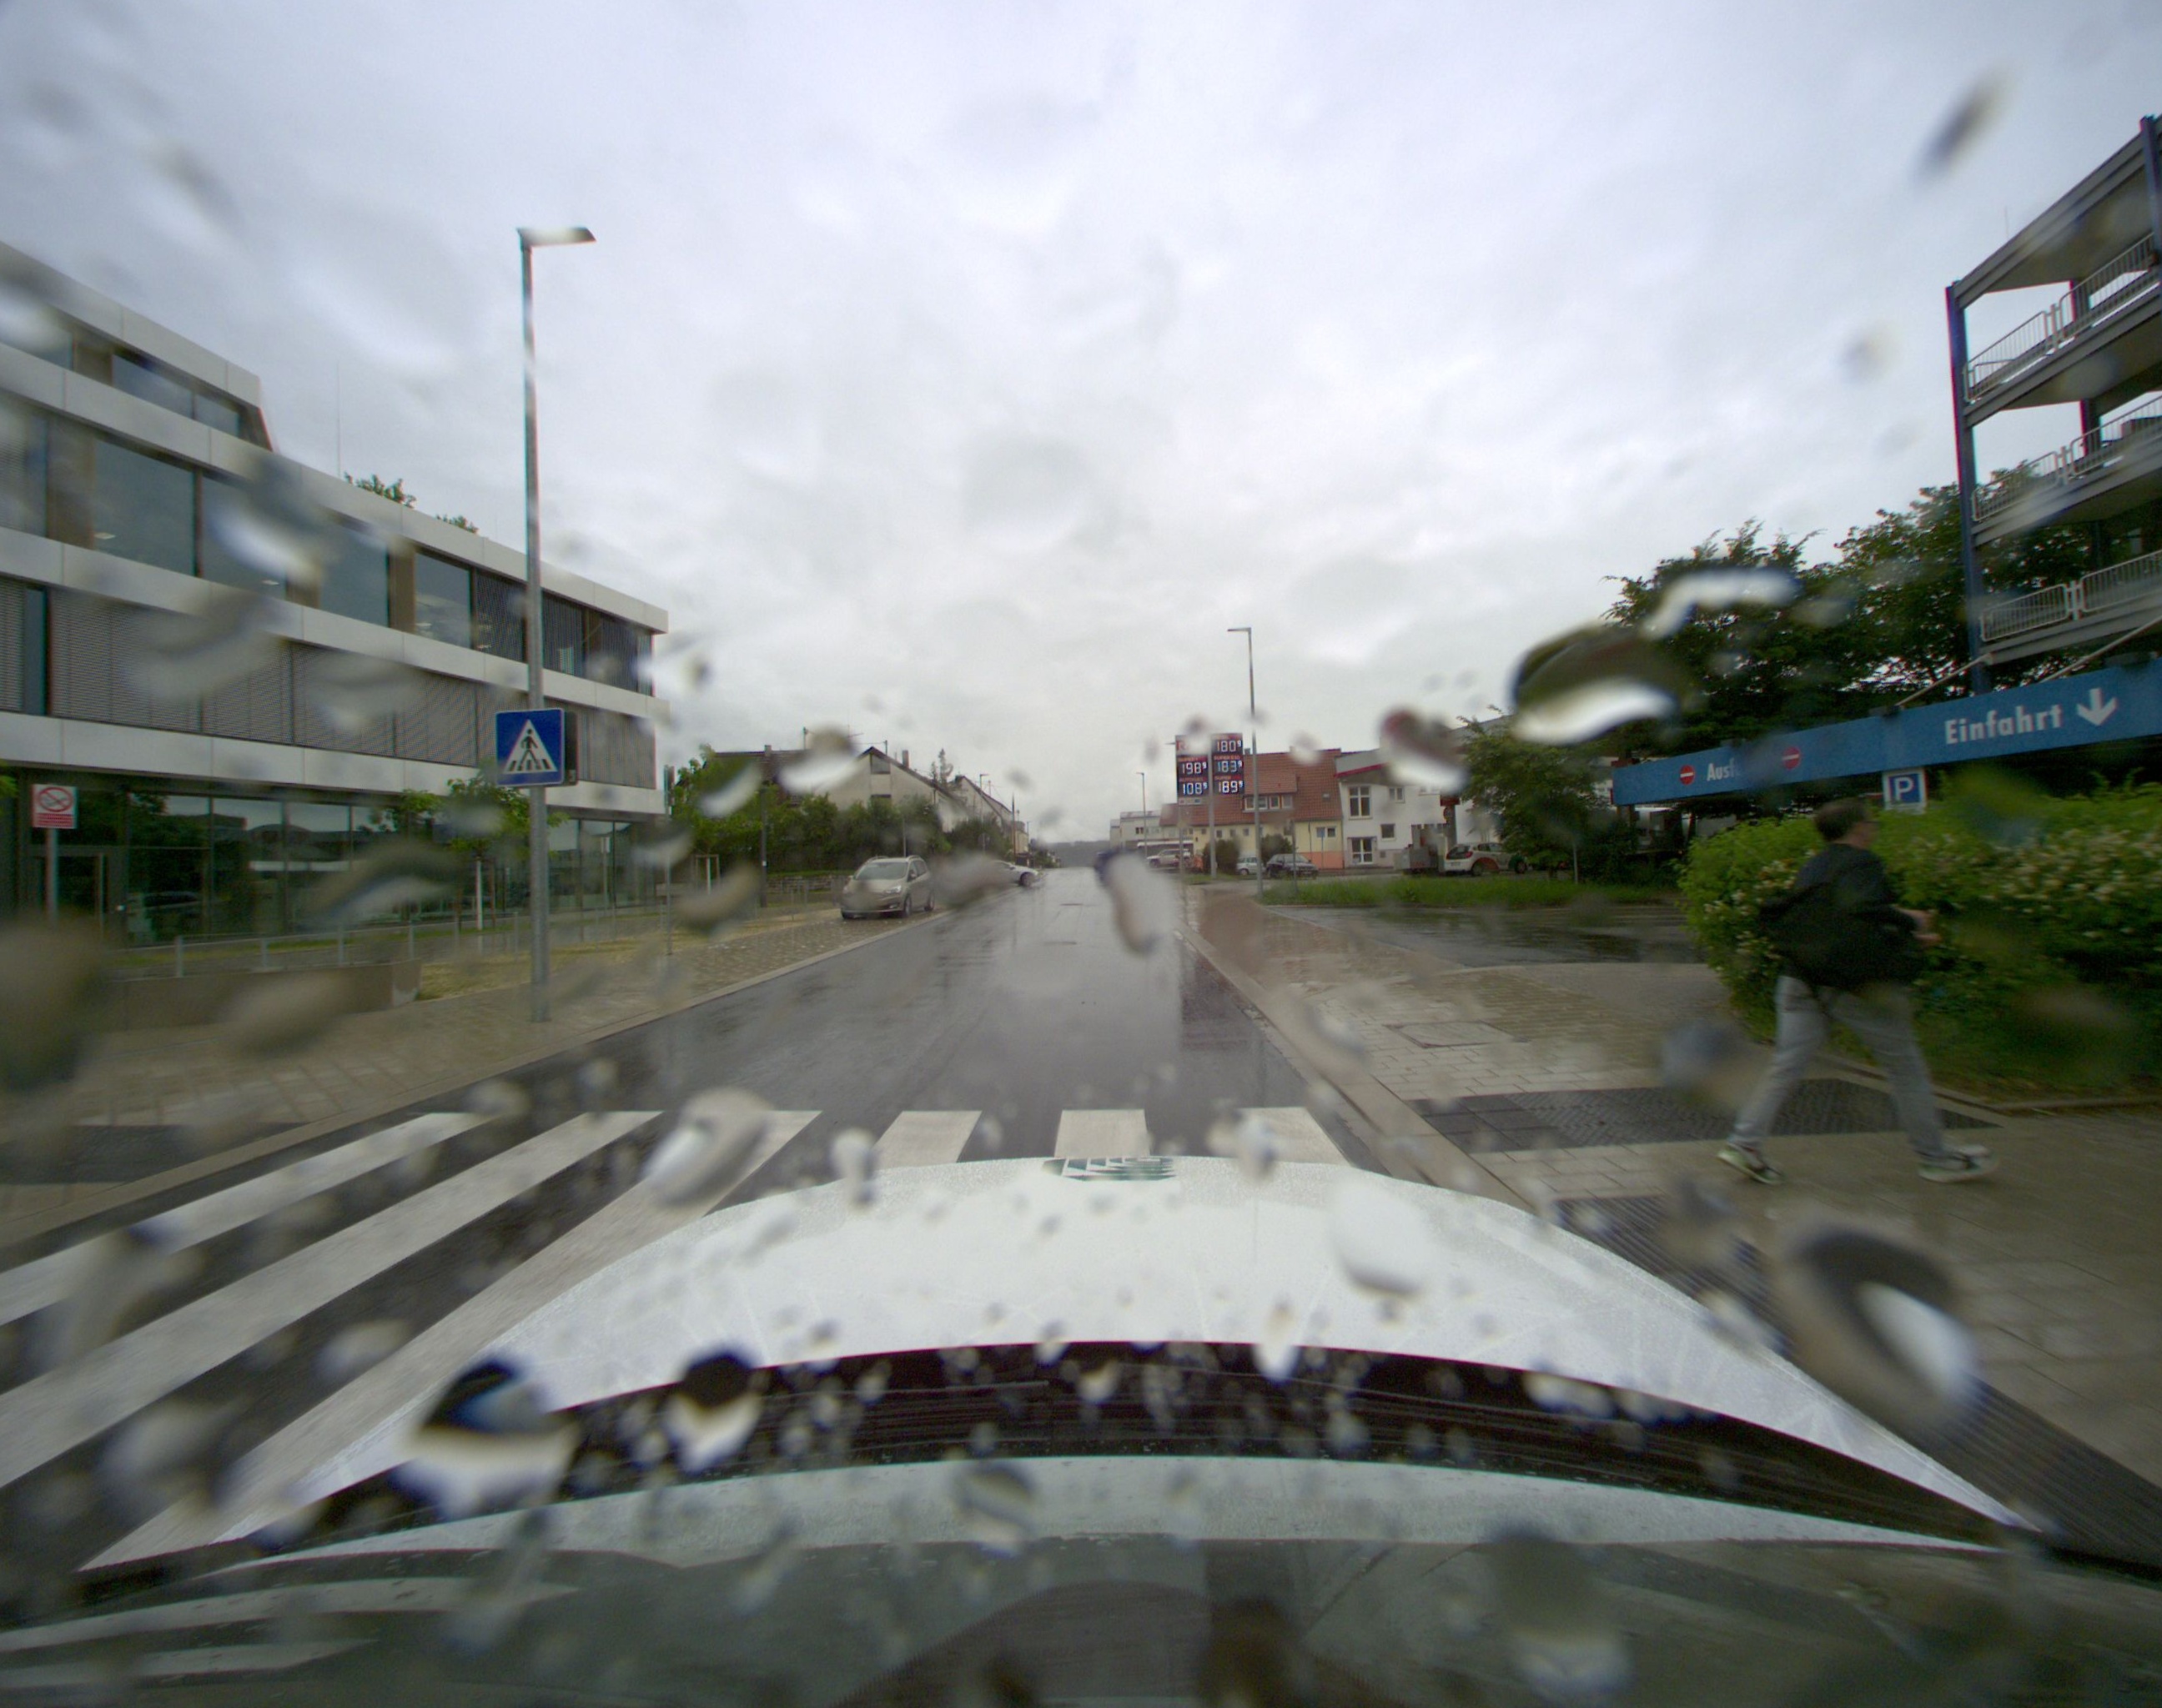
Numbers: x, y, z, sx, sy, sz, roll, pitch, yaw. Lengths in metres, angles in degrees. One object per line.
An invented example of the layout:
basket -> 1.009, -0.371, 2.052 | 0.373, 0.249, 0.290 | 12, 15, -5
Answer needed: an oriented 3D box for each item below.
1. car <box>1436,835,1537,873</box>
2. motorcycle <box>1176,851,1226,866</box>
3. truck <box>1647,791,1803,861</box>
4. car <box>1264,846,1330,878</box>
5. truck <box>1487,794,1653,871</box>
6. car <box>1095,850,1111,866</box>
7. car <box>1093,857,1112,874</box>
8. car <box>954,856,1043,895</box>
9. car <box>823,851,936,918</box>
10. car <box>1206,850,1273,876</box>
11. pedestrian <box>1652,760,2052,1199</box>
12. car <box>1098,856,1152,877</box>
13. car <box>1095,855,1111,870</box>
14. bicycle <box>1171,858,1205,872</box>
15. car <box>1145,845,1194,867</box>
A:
car -> 17.398, 0.012, 34.966 | 3.526, 1.556, 1.942 | 0, -2, -19
motorcycle -> 9.963, 0.348, 67.833 | 3.949, 1.153, 1.100 | 0, -3, 28
truck -> 21.620, -0.867, 27.559 | 1.990, 2.014, 3.993 | 2, -2, -4
car -> 11.699, 0.482, 44.398 | 1.993, 1.552, 3.986 | 2, -2, -10
truck -> 25.140, -1.017, 41.924 | 7.730, 3.445, 2.667 | 2, -3, -14
car -> 2.596, 0.469, 95.116 | 1.776, 1.706, 4.001 | 2, -2, 2
car -> 2.323, 1.245, 88.352 | 1.986, 1.706, 4.001 | 2, -2, 2
car -> -4.702, 1.231, 46.306 | 4.757, 2.014, 1.991 | 2, -3, -13
car -> -5.531, 0.794, 22.955 | 1.986, 1.629, 4.155 | -2, 0, 2
car -> 10.642, 0.632, 54.796 | 3.985, 1.556, 1.948 | 2, -2, -9
pedestrian -> 3.351, 0.499, 3.640 | 1.010, 1.724, 0.772 | -1, -1, -1
car -> 3.345, 0.934, 62.263 | 1.868, 1.494, 3.951 | 4, -3, -43
car -> 2.769, 1.068, 101.382 | 1.986, 1.706, 4.001 | 2, -2, 2
bicycle -> 8.595, 0.878, 65.800 | 0.672, 1.067, 3.594 | 3, -3, -29
car -> 7.825, 0.184, 72.459 | 4.101, 1.706, 1.787 | 2, -2, -2
